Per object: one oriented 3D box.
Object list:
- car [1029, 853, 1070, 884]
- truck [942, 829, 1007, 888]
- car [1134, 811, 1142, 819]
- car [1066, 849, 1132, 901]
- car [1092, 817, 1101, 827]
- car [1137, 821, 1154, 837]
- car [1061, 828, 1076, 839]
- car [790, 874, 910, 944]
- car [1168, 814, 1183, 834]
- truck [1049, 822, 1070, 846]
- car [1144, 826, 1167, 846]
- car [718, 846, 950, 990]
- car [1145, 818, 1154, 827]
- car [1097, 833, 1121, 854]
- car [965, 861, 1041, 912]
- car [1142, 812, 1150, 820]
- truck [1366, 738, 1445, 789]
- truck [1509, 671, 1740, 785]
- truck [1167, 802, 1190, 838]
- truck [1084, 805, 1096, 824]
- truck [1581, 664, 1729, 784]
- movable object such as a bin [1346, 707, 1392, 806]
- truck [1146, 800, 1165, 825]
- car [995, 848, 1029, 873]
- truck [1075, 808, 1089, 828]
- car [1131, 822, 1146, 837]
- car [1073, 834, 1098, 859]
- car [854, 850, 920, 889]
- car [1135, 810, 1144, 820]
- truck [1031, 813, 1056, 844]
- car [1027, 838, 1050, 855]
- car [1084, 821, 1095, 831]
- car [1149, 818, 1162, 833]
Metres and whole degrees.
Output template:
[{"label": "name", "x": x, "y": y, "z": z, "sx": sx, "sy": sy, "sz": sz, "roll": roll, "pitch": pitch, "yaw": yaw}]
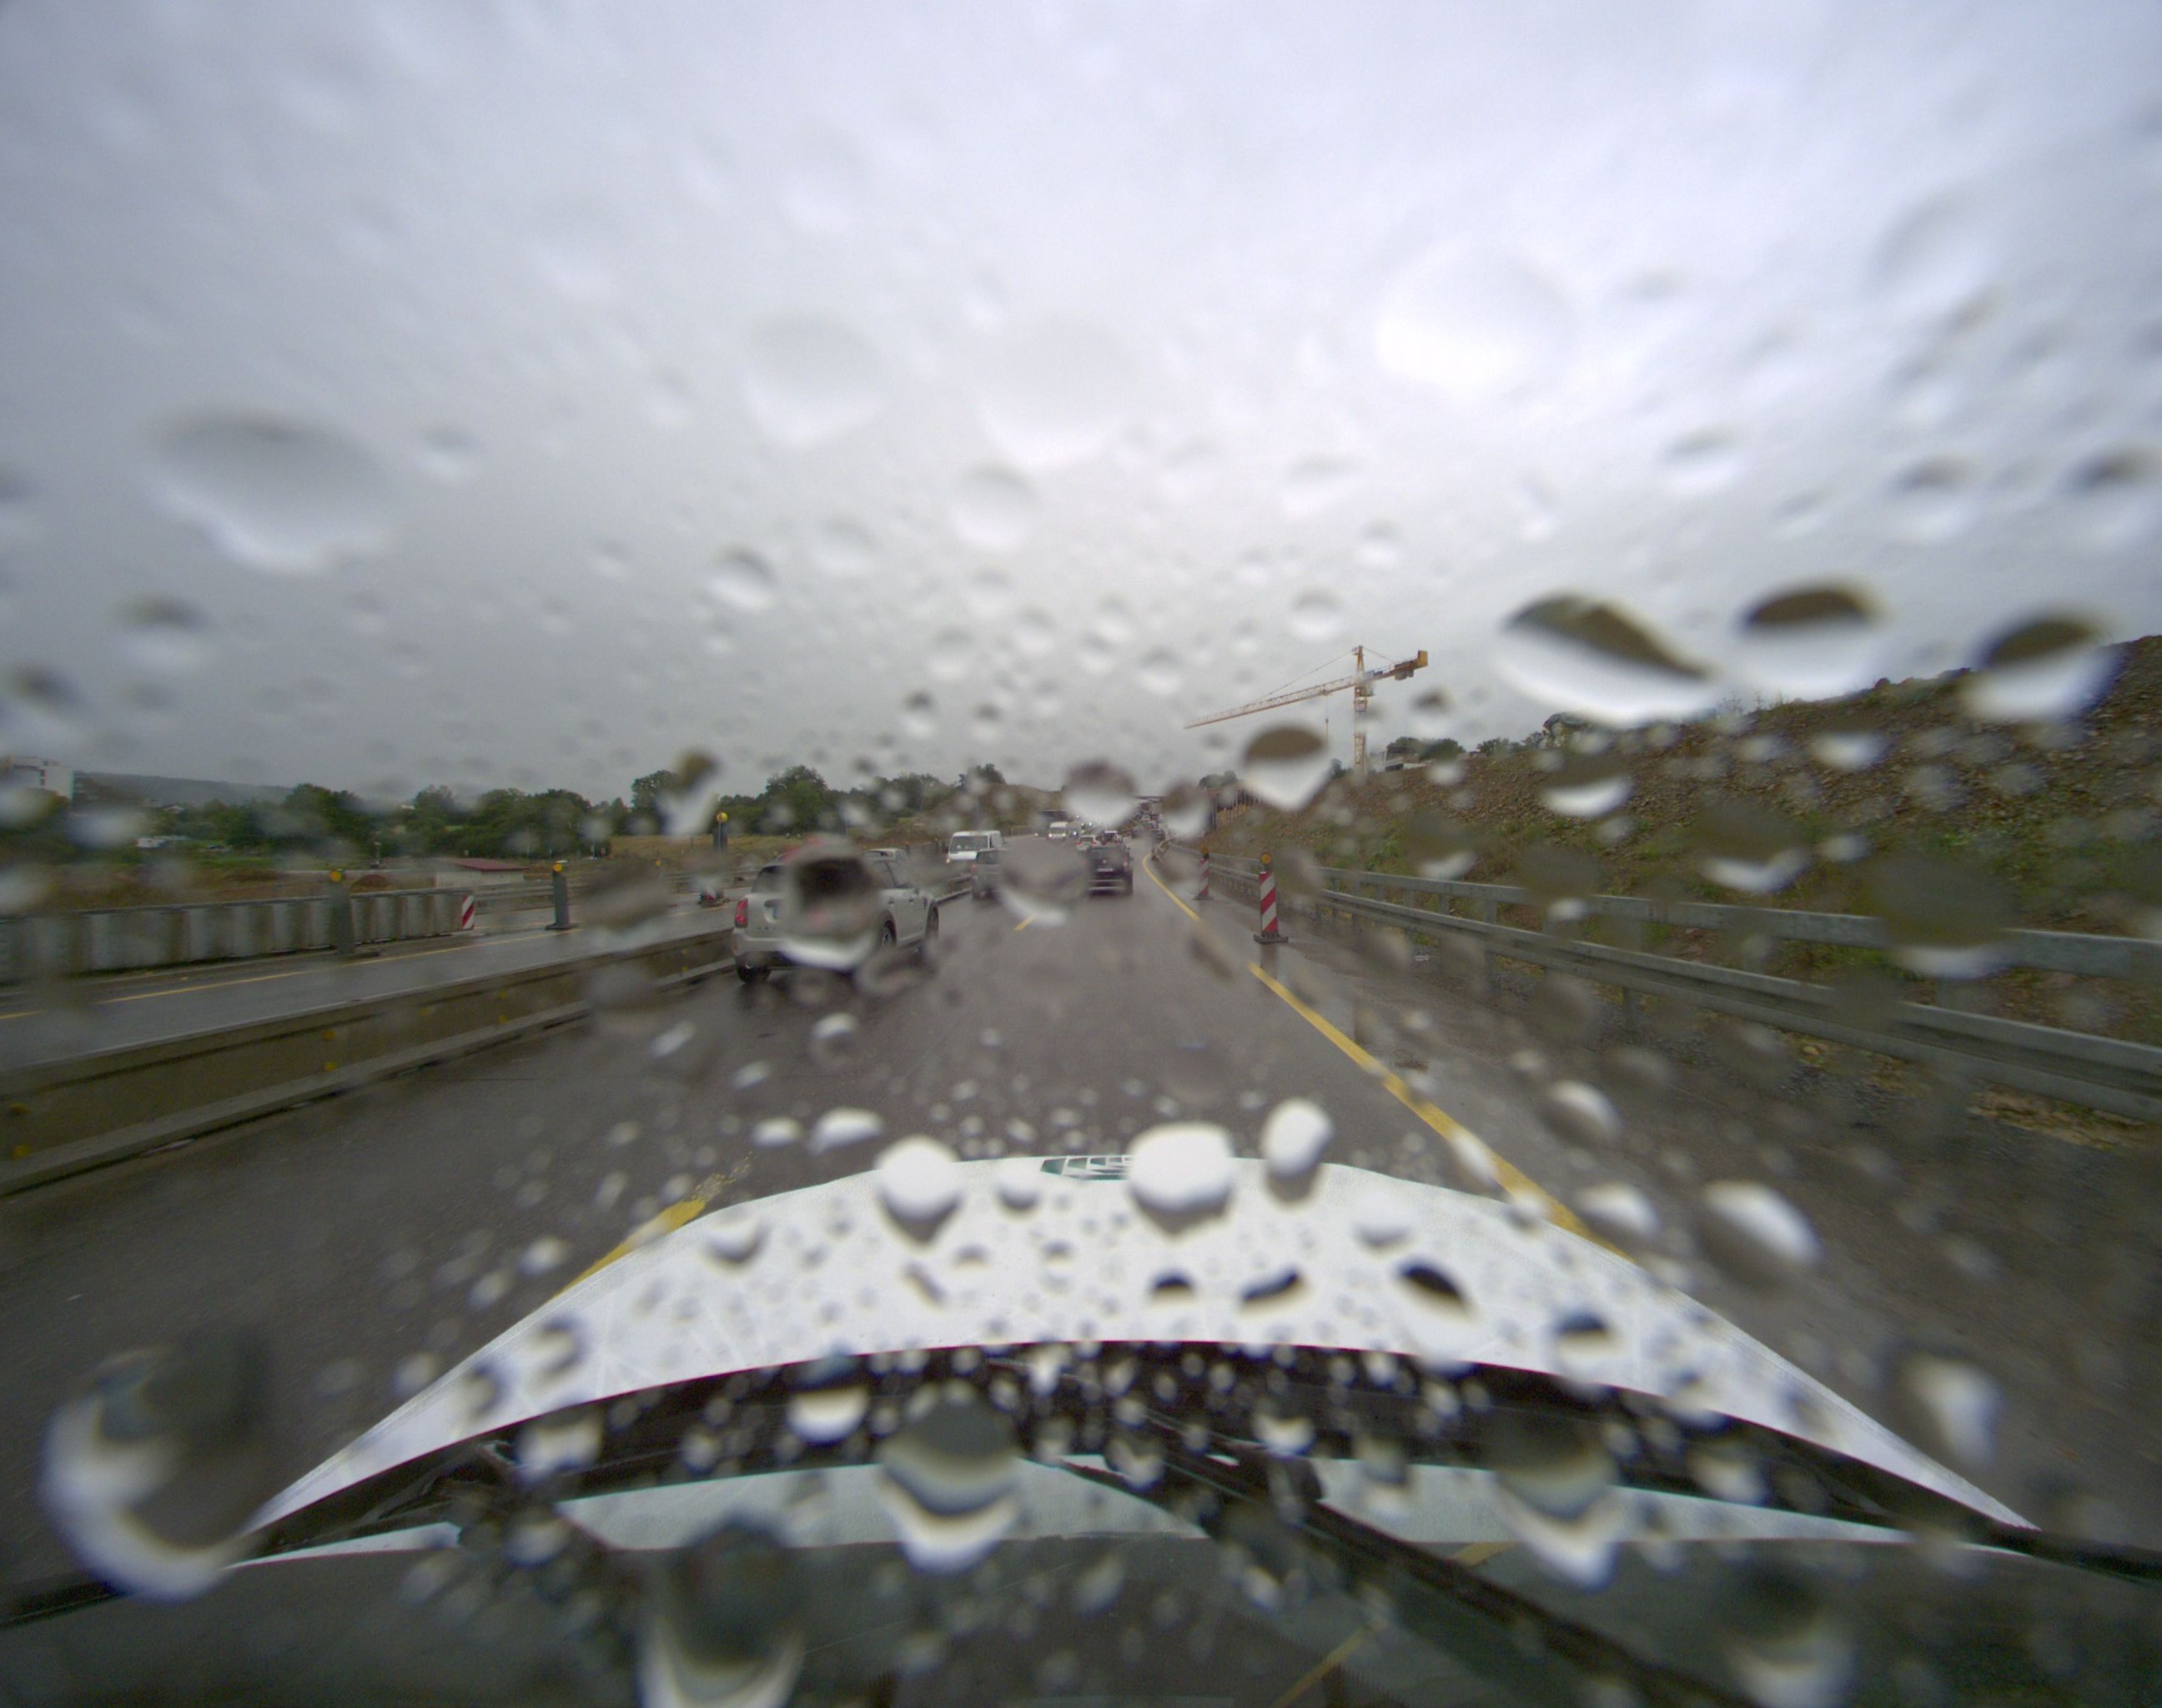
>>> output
[{"label": "car", "x": -1.710, "y": 0.784, "z": 45.667, "sx": 1.986, "sy": 1.600, "sz": 4.141, "roll": -1, "pitch": 0, "yaw": 1}, {"label": "truck", "x": -4.962, "y": 0.215, "z": 39.000, "sx": 2.070, "sy": 2.576, "sz": 5.964, "roll": -1, "pitch": 0, "yaw": 2}, {"label": "car", "x": 15.249, "y": -10.298, "z": 216.699, "sx": 1.986, "sy": 2.013, "sz": 4.003, "roll": -2, "pitch": 1, "yaw": 2}, {"label": "car", "x": 0.687, "y": 0.689, "z": 27.948, "sx": 2.072, "sy": 1.600, "sz": 4.144, "roll": -1, "pitch": 0, "yaw": 3}, {"label": "car", "x": 3.158, "y": -6.507, "z": 165.930, "sx": 1.778, "sy": 1.810, "sz": 4.502, "roll": -1, "pitch": 0, "yaw": 3}, {"label": "car", "x": 9.482, "y": -3.651, "z": 119.405, "sx": 1.981, "sy": 2.163, "sz": 4.153, "roll": -1, "pitch": 0, "yaw": 11}, {"label": "car", "x": -1.708, "y": -2.807, "z": 112.947, "sx": 1.862, "sy": 1.471, "sz": 4.673, "roll": -1, "pitch": 2, "yaw": 1}, {"label": "car", "x": -6.148, "y": 1.407, "z": 22.279, "sx": 1.766, "sy": 1.504, "sz": 4.681, "roll": -2, "pitch": 0, "yaw": 2}, {"label": "car", "x": 13.473, "y": -4.223, "z": 115.775, "sx": 1.982, "sy": 2.484, "sz": 4.992, "roll": -1, "pitch": 0, "yaw": 8}, {"label": "truck", "x": -2.509, "y": -2.379, "z": 96.742, "sx": 2.139, "sy": 2.713, "sz": 6.019, "roll": -1, "pitch": 1, "yaw": 2}, {"label": "car", "x": 8.605, "y": -2.023, "z": 93.909, "sx": 1.979, "sy": 2.163, "sz": 4.157, "roll": -1, "pitch": 0, "yaw": 15}, {"label": "car", "x": -3.163, "y": 0.725, "z": 11.427, "sx": 1.809, "sy": 1.600, "sz": 4.309, "roll": -1, "pitch": 0, "yaw": 1}, {"label": "car", "x": 14.857, "y": -6.830, "z": 176.730, "sx": 1.841, "sy": 1.894, "sz": 4.025, "roll": -1, "pitch": 0, "yaw": 3}, {"label": "car", "x": 3.073, "y": -1.139, "z": 88.185, "sx": 1.981, "sy": 2.163, "sz": 4.151, "roll": -1, "pitch": 0, "yaw": 9}, {"label": "car", "x": -2.611, "y": 1.066, "z": 28.244, "sx": 1.985, "sy": 1.600, "sz": 4.144, "roll": -1, "pitch": 0, "yaw": 3}, {"label": "car", "x": 18.594, "y": -10.838, "z": 233.706, "sx": 1.986, "sy": 2.014, "sz": 4.001, "roll": -1, "pitch": 0, "yaw": 2}, {"label": "truck", "x": 21.418, "y": -5.922, "z": 54.183, "sx": 2.635, "sy": 2.554, "sz": 6.987, "roll": -1, "pitch": 0, "yaw": 2}, {"label": "truck", "x": 20.306, "y": -4.536, "z": 31.403, "sx": 3.380, "sy": 2.875, "sz": 8.970, "roll": -1, "pitch": 0, "yaw": 4}, {"label": "truck", "x": 16.402, "y": -5.582, "z": 136.629, "sx": 3.082, "sy": 5.426, "sz": 9.469, "roll": -1, "pitch": 0, "yaw": 10}, {"label": "truck", "x": 2.740, "y": -11.629, "z": 241.174, "sx": 3.128, "sy": 5.417, "sz": 8.532, "roll": -1, "pitch": 1, "yaw": 3}, {"label": "truck", "x": 25.054, "y": -5.519, "z": 35.921, "sx": 2.364, "sy": 4.218, "sz": 5.982, "roll": -1, "pitch": -1, "yaw": 2}, {"label": "movable object such as a bin", "x": 35.570, "y": -11.758, "z": 101.094, "sx": 4.682, "sy": 10.842, "sz": 10.349, "roll": -1, "pitch": -1, "yaw": 17}, {"label": "truck", "x": 17.995, "y": -9.958, "z": 197.294, "sx": 3.789, "sy": 5.042, "sz": 12.927, "roll": -1, "pitch": 0, "yaw": 2}, {"label": "car", "x": -4.649, "y": 0.409, "z": 55.413, "sx": 1.780, "sy": 1.538, "sz": 4.314, "roll": -2, "pitch": 0, "yaw": 2}, {"label": "truck", "x": 0.369, "y": -9.211, "z": 209.073, "sx": 3.070, "sy": 4.919, "sz": 8.573, "roll": -1, "pitch": 1, "yaw": 3}, {"label": "car", "x": 7.614, "y": -3.207, "z": 108.119, "sx": 1.985, "sy": 1.761, "sz": 3.818, "roll": -1, "pitch": 0, "yaw": 3}, {"label": "car", "x": 0.447, "y": -0.618, "z": 69.648, "sx": 1.986, "sy": 2.014, "sz": 3.895, "roll": -1, "pitch": 0, "yaw": 2}, {"label": "car", "x": -8.421, "y": 0.641, "z": 35.654, "sx": 1.781, "sy": 1.546, "sz": 4.002, "roll": -1, "pitch": 1, "yaw": 2}, {"label": "car", "x": 13.796, "y": -9.205, "z": 192.769, "sx": 1.986, "sy": 2.013, "sz": 4.003, "roll": -2, "pitch": 1, "yaw": 2}, {"label": "truck", "x": -4.988, "y": -3.415, "z": 110.348, "sx": 2.632, "sy": 3.969, "sz": 9.217, "roll": -1, "pitch": 2, "yaw": 1}, {"label": "car", "x": -3.836, "y": -0.695, "z": 74.329, "sx": 1.670, "sy": 1.524, "sz": 4.347, "roll": -2, "pitch": 1, "yaw": 2}, {"label": "car", "x": 1.497, "y": -4.974, "z": 145.799, "sx": 1.730, "sy": 1.684, "sz": 5.556, "roll": -1, "pitch": 2, "yaw": 3}, {"label": "car", "x": 12.013, "y": -4.609, "z": 131.135, "sx": 1.982, "sy": 2.163, "sz": 4.149, "roll": -1, "pitch": 0, "yaw": 7}]
